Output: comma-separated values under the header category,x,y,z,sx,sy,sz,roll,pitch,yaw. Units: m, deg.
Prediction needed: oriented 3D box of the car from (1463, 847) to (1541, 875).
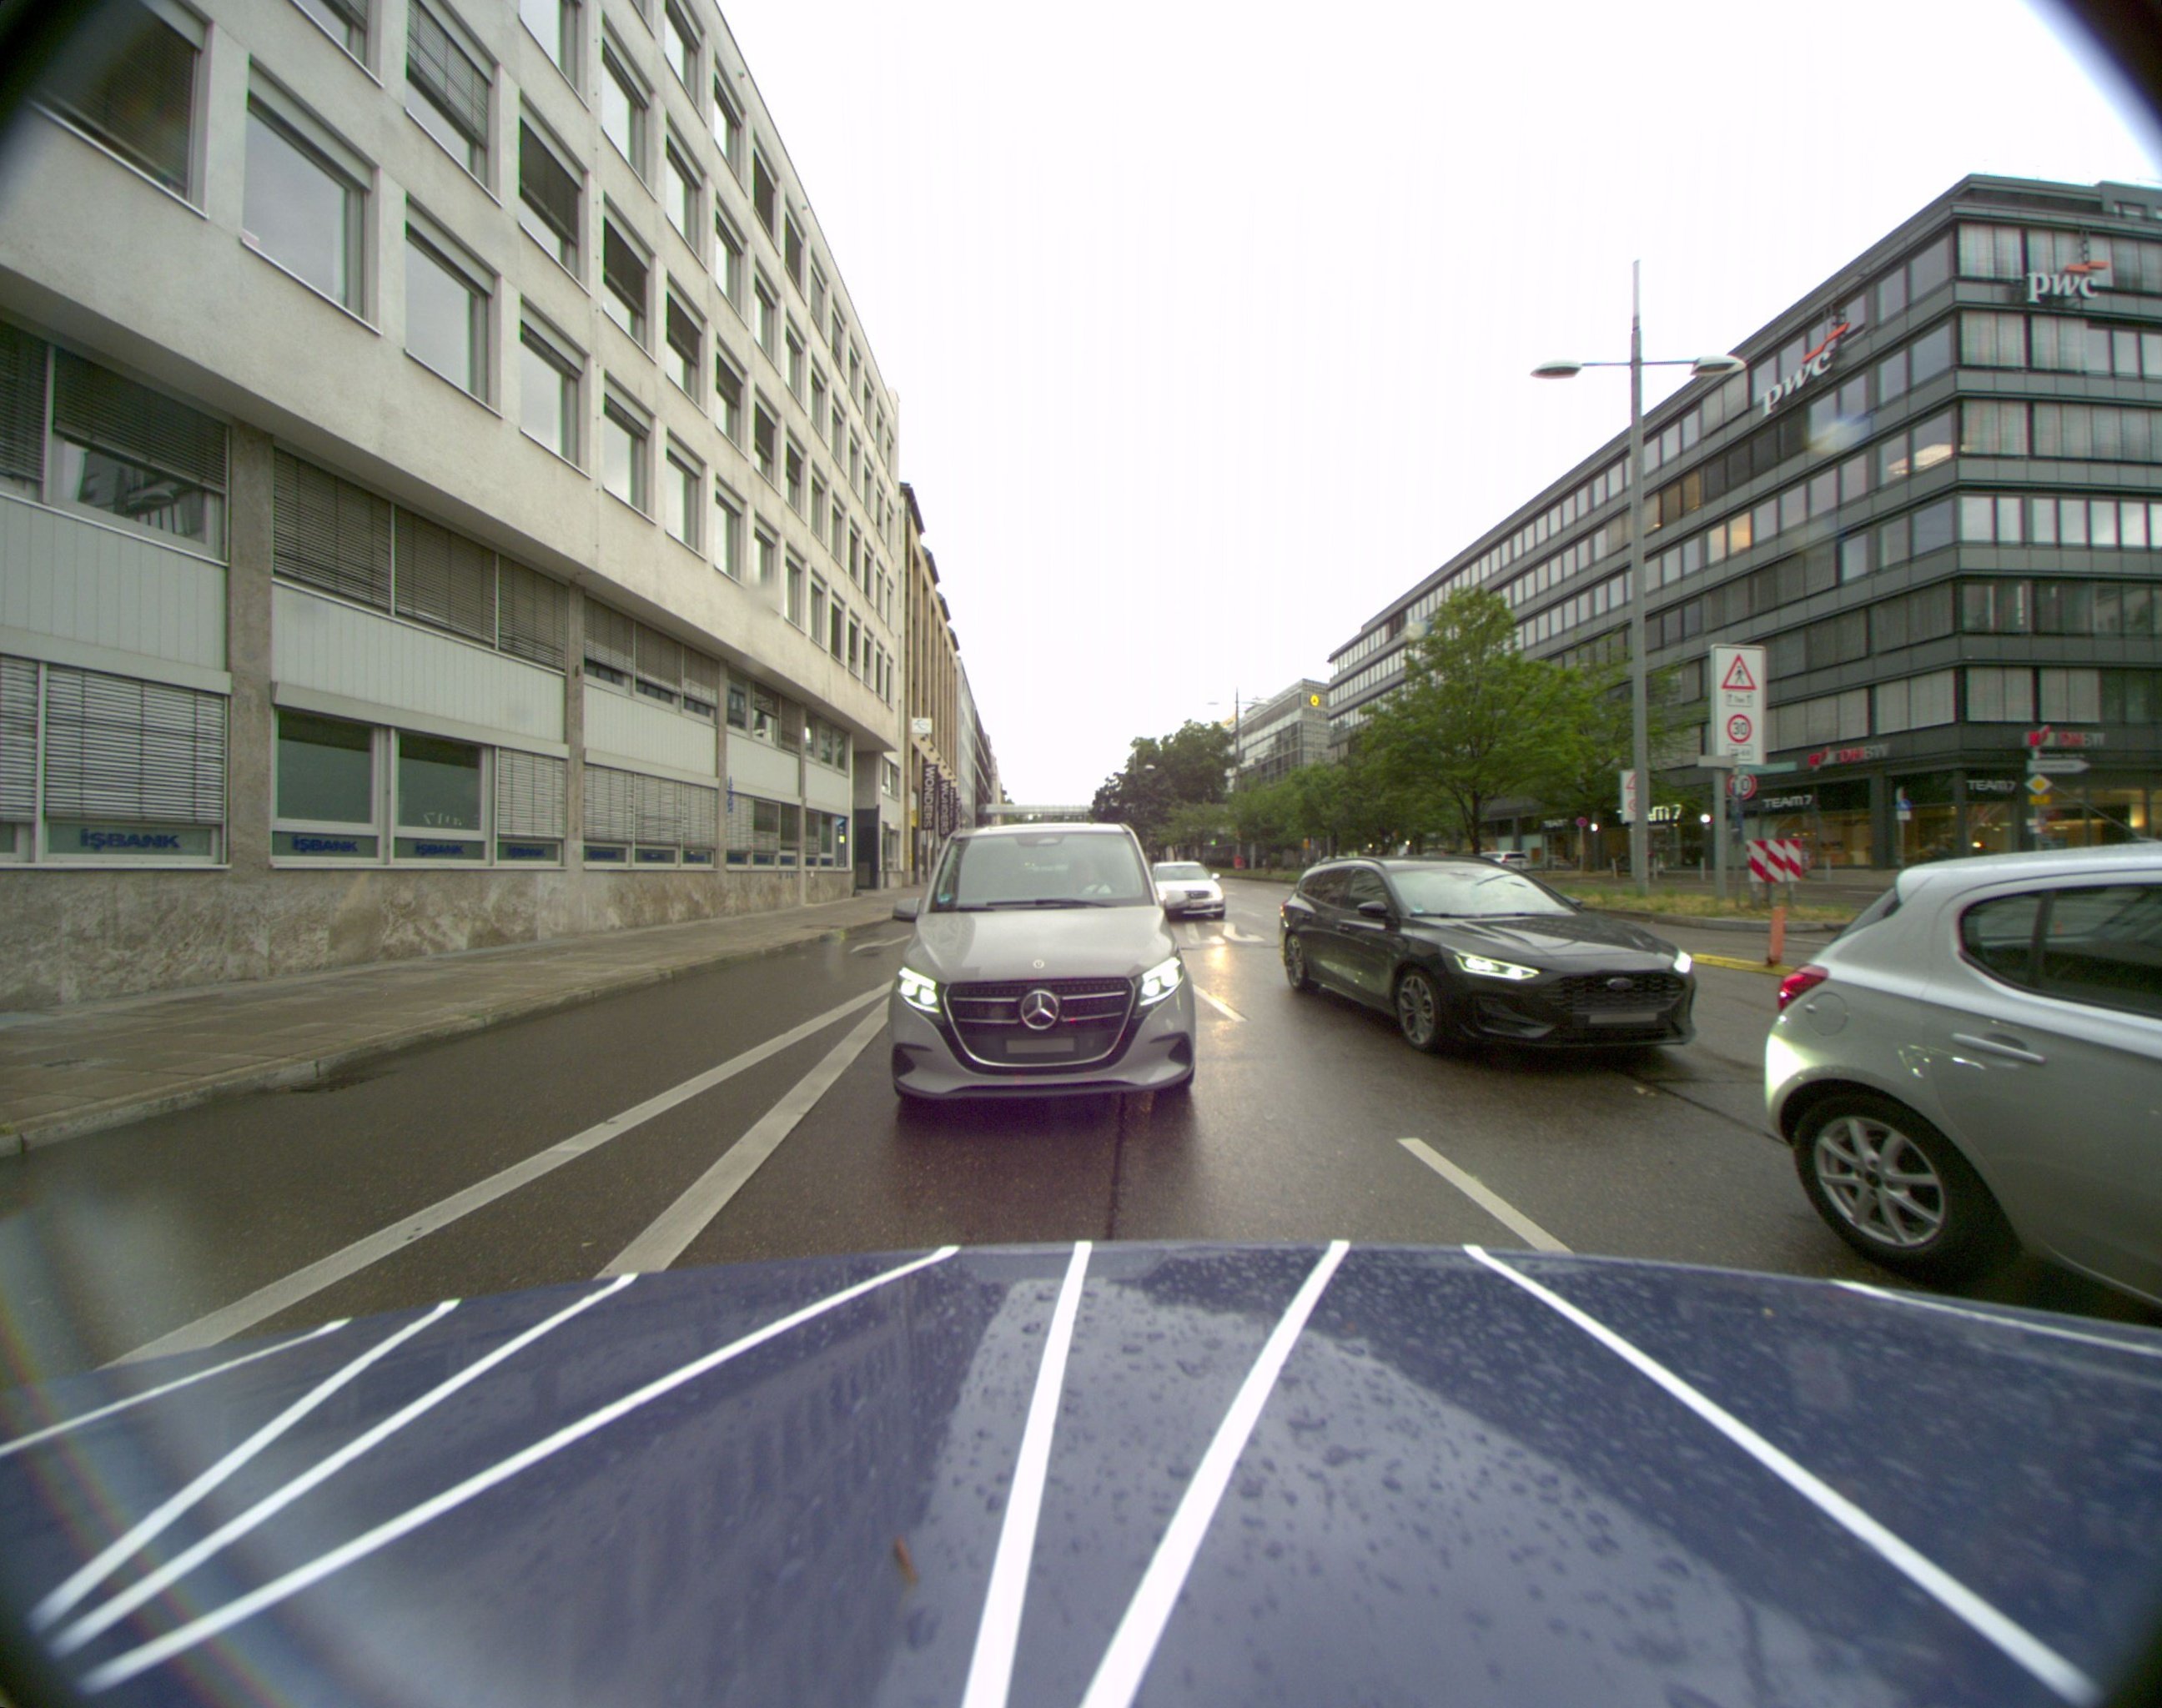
category,x,y,z,sx,sy,sz,roll,pitch,yaw
car,24.097,0.389,43.660,1.999,1.498,3.999,-2,0,-4

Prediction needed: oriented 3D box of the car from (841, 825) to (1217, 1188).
category,x,y,z,sx,sy,sz,roll,pitch,yaw
car,-0.288,0.810,6.519,1.916,1.844,5.026,-2,0,0

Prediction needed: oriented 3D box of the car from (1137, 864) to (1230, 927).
category,x,y,z,sx,sy,sz,roll,pitch,yaw
car,2.555,1.001,19.828,1.776,1.372,4.094,-2,0,-1

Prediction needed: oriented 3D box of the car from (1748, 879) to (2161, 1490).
category,x,y,z,sx,sy,sz,roll,pitch,yaw
car,3.494,0.837,1.075,1.652,1.427,3.875,-2,0,0

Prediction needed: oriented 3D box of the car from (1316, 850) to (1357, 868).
category,x,y,z,sx,sy,sz,roll,pitch,yaw
car,22.387,0.459,66.664,1.999,1.498,3.999,-2,0,-4

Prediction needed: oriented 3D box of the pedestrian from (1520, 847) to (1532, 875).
category,x,y,z,sx,sy,sz,roll,pitch,yaw
pedestrian,32.028,0.482,54.672,0.575,2.002,0.461,-2,1,-5

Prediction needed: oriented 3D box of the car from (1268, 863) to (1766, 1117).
category,x,y,z,sx,sy,sz,roll,pitch,yaw
car,3.163,0.837,6.638,1.776,1.427,4.093,-2,0,-4

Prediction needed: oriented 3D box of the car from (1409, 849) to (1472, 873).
category,x,y,z,sx,sy,sz,roll,pitch,yaw
car,23.639,0.449,50.119,1.999,1.498,4.106,-2,0,-4

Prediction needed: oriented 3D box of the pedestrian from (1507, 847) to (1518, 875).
category,x,y,z,sx,sy,sz,roll,pitch,yaw
pedestrian,30.401,0.492,53.533,0.541,2.002,0.297,-2,1,-5

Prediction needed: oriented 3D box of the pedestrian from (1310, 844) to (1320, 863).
category,x,y,z,sx,sy,sz,roll,pitch,yaw
pedestrian,25.430,-0.023,82.549,0.928,2.002,0.539,-2,0,-1
